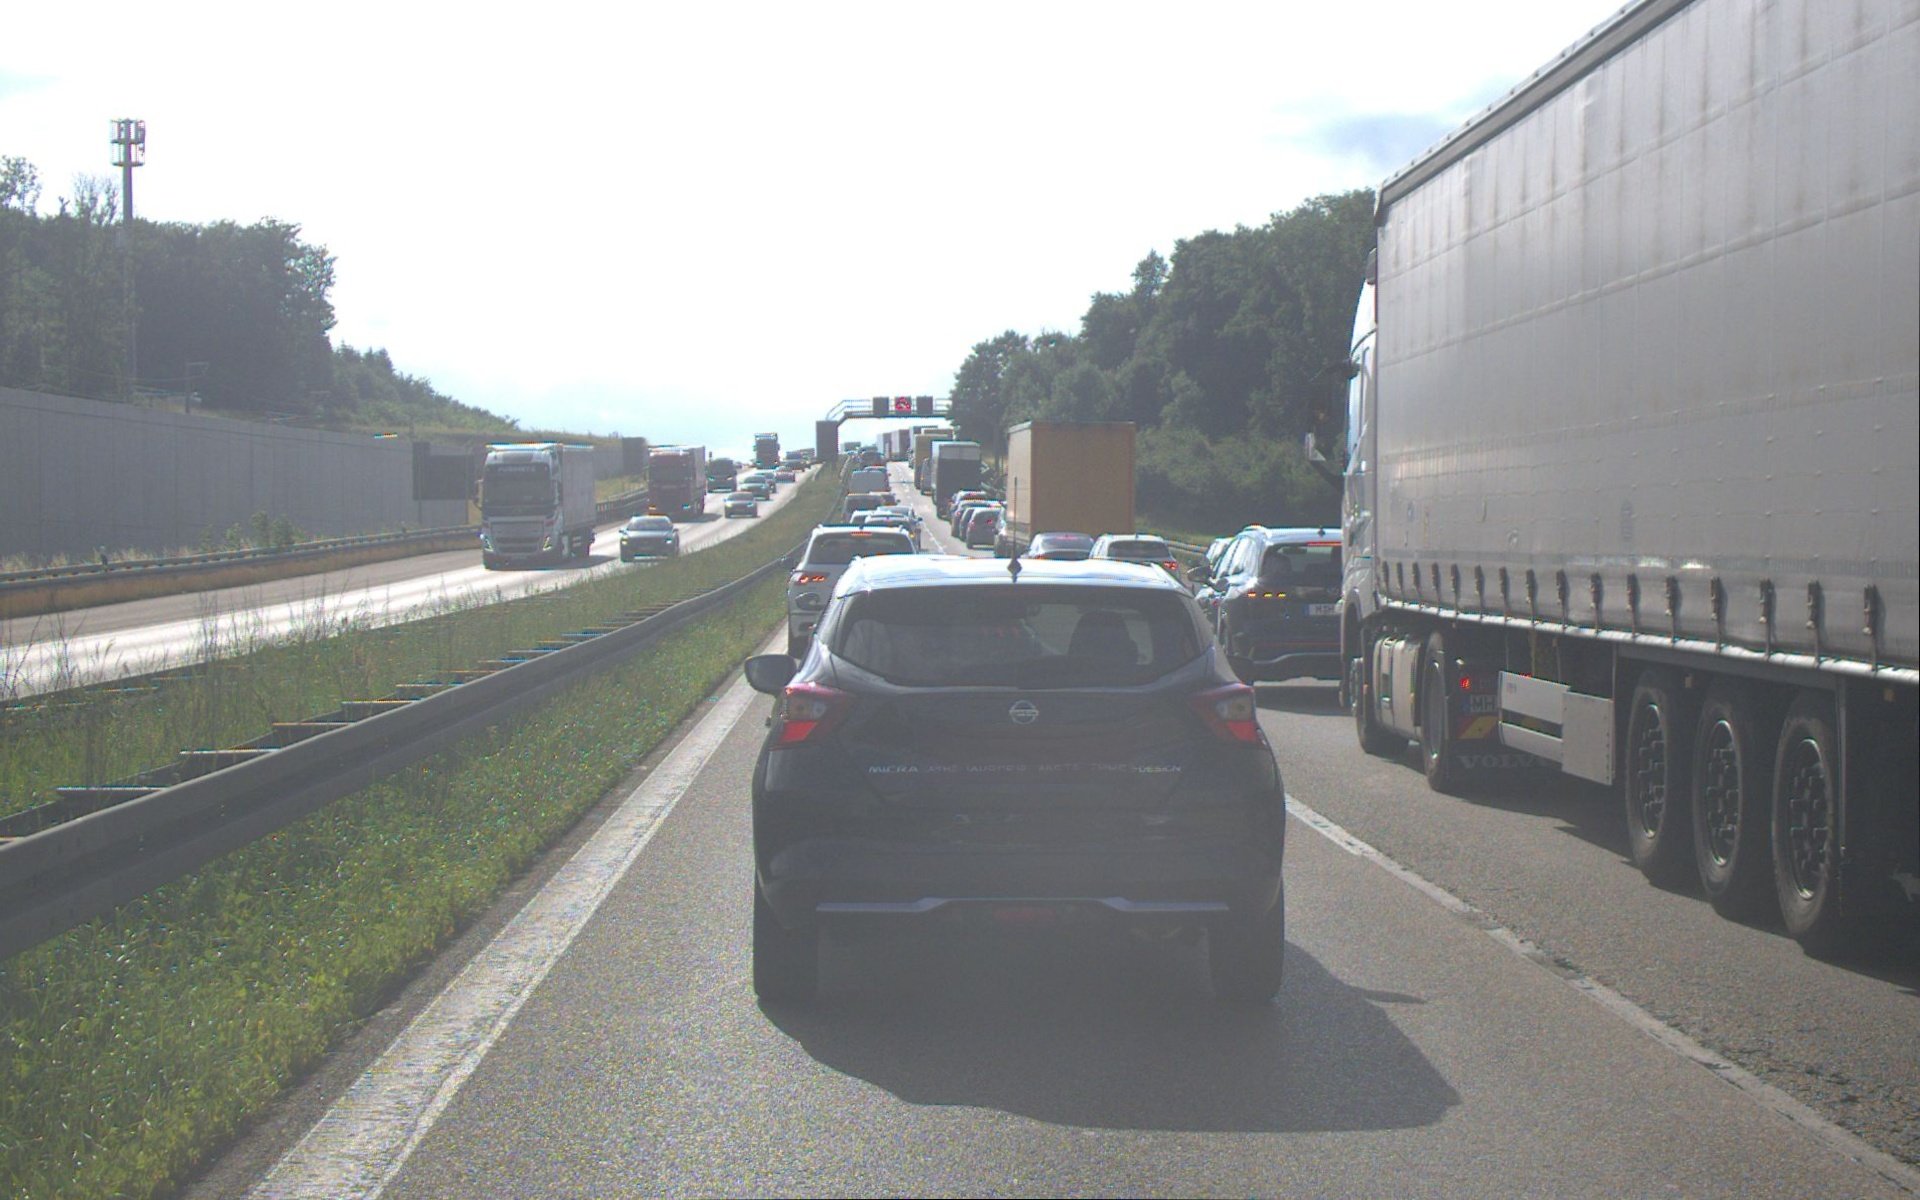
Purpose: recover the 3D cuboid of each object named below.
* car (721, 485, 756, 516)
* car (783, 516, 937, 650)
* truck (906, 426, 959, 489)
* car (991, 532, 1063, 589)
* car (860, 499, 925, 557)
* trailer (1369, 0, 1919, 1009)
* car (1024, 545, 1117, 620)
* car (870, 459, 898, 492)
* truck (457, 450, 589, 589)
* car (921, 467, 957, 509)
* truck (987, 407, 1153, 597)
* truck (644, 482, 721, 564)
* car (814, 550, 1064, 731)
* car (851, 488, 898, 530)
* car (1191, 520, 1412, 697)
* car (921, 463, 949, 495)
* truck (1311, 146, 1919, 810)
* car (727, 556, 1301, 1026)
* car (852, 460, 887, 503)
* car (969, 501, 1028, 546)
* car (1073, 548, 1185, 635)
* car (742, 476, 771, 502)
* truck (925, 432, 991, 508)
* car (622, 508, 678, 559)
[{"bbox_3d":[-12.557,-5.665,195.332,1.744,1.700,4.233,1,2,-1],"label":"car"},{"bbox_3d":[-1.266,-0.231,44.080,1.873,1.638,4.232,0,1,-1],"label":"car"},{"bbox_3d":[-2.124,-10.757,260.320,3.464,4.561,12.443,1,2,-3],"label":"truck"},{"bbox_3d":[1.938,-1.179,100.947,1.873,1.638,4.233,0,1,-2],"label":"car"},{"bbox_3d":[-2.007,-2.144,101.579,1.873,1.638,4.233,0,2,-1],"label":"car"},{"bbox_3d":[4.386,-0.737,16.120,3.130,3.997,13.367,1,0,-1],"label":"trailer"},{"bbox_3d":[2.468,-0.421,77.835,1.873,1.638,4.232,0,1,-1],"label":"car"},{"bbox_3d":[-5.330,-8.739,240.702,1.873,2.151,5.212,0,3,-1],"label":"car"},{"bbox_3d":[-14.996,-2.767,118.853,3.296,4.561,12.442,0,1,-2],"label":"truck"},{"bbox_3d":[-1.175,-6.197,189.018,1.873,2.151,5.212,0,3,-1],"label":"car"},{"bbox_3d":[2.714,-2.398,89.580,3.296,4.562,12.442,1,0,-3],"label":"truck"},{"bbox_3d":[-15.828,-4.420,197.155,3.297,4.539,12.441,0,1,0],"label":"truck"},{"bbox_3d":[-0.198,0.282,27.941,1.873,1.353,4.232,0,1,-1],"label":"car"},{"bbox_3d":[-3.512,-3.740,140.841,1.873,1.638,4.233,0,2,-2],"label":"car"},{"bbox_3d":[3.251,0.055,33.470,1.697,1.605,4.437,0,1,0],"label":"car"},{"bbox_3d":[-1.800,-8.604,244.029,1.873,2.151,5.212,0,3,-1],"label":"car"},{"bbox_3d":[4.281,-0.740,23.467,3.133,4.002,5.164,1,0,-1],"label":"truck"},{"bbox_3d":[0.126,0.568,12.769,1.773,1.446,4.232,0,1,-1],"label":"car"},{"bbox_3d":[-4.894,-6.405,185.517,1.873,2.151,5.212,0,3,-1],"label":"car"},{"bbox_3d":[1.468,-2.967,132.093,1.873,1.638,4.233,0,2,-4],"label":"car"},{"bbox_3d":[3.244,-0.175,66.640,1.873,1.638,4.232,0,0,-1],"label":"car"},{"bbox_3d":[-13.872,-7.576,234.323,1.744,1.699,4.233,1,3,-1],"label":"car"},{"bbox_3d":[-0.194,-8.080,214.613,3.464,4.561,12.443,1,2,-3],"label":"truck"},{"bbox_3d":[-10.676,-2.276,118.590,1.743,1.700,4.232,1,0,-3],"label":"car"}]
